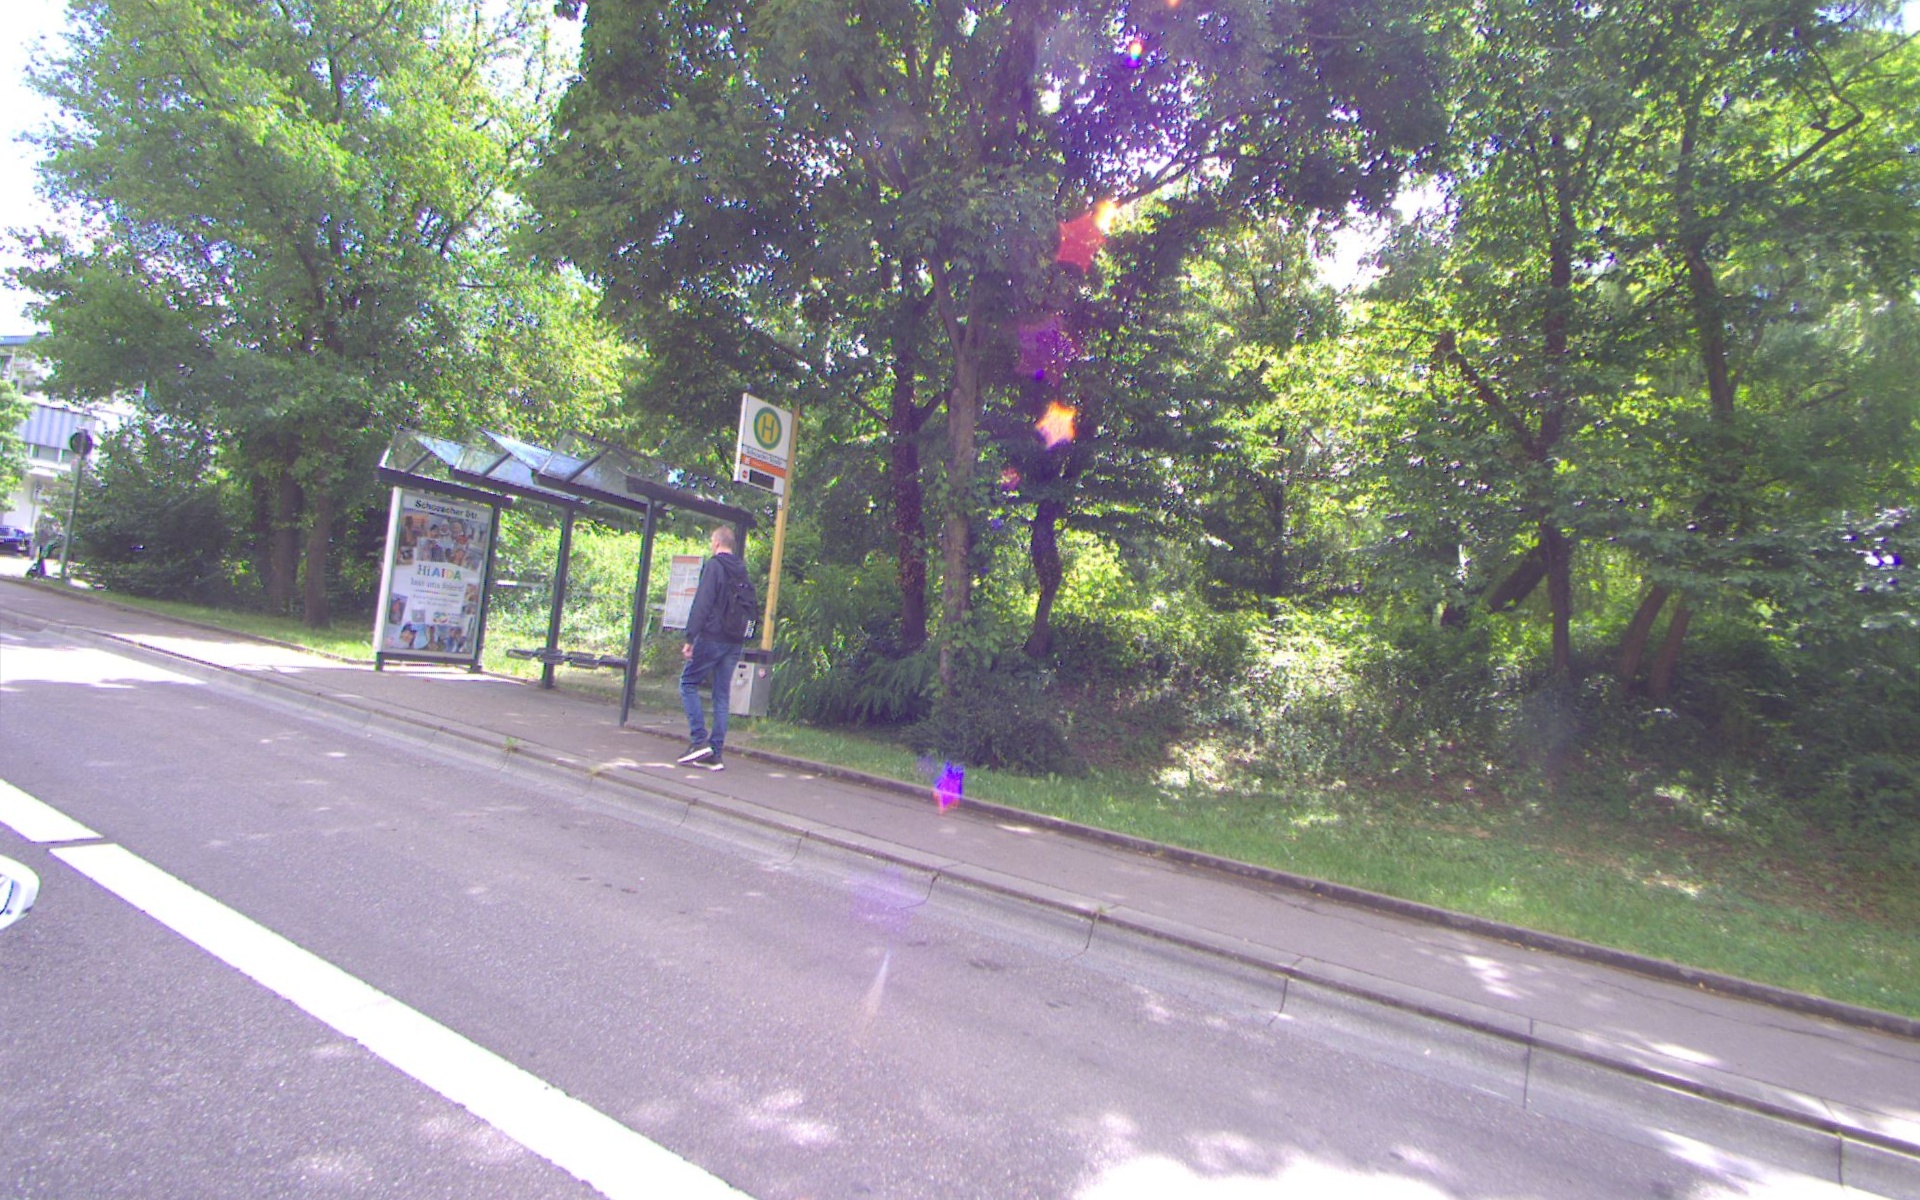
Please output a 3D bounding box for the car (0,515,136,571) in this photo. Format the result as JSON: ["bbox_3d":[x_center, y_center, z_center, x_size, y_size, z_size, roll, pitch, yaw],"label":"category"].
[{"bbox_3d":[-35.281,-2.235,39.848,1.679,1.619,3.592,6,-2,20],"label":"car"}]

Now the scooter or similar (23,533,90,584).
[{"bbox_3d":[-22.042,-0.995,24.563,0.325,1.112,1.153,7,-2,9],"label":"scooter or similar"}]

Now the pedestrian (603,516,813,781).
[{"bbox_3d":[-2.037,0.367,8.125,1.250,1.918,0.802,6,-1,33],"label":"pedestrian"}]

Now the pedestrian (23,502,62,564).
[{"bbox_3d":[-28.471,-2.062,31.227,0.611,1.808,0.562,12,-5,-40],"label":"pedestrian"}]
